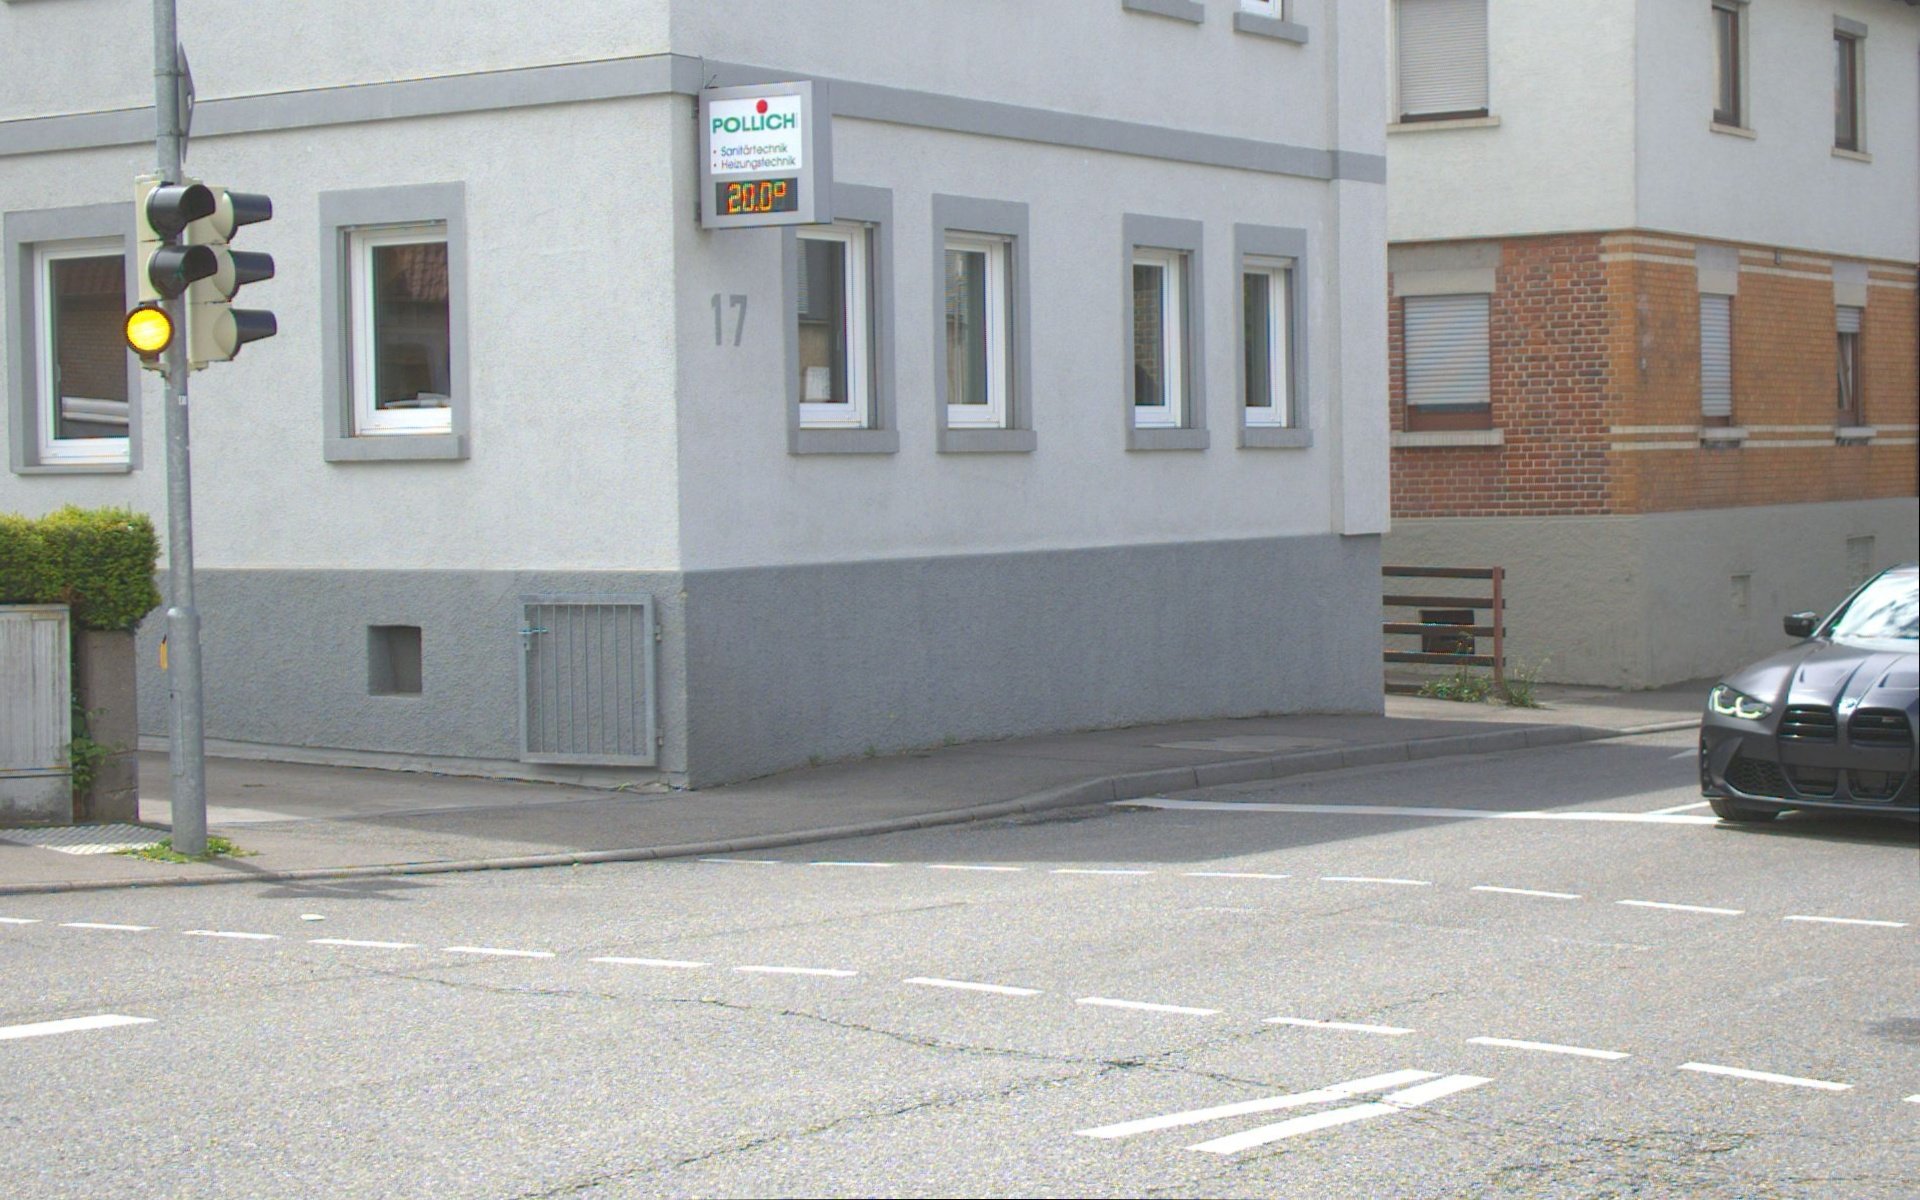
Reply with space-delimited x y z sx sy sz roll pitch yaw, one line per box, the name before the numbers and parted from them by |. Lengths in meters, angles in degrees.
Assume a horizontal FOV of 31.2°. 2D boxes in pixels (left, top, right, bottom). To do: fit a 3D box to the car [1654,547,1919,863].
car | 5.587 0.485 18.710 1.997 1.452 4.609 3 3 32
